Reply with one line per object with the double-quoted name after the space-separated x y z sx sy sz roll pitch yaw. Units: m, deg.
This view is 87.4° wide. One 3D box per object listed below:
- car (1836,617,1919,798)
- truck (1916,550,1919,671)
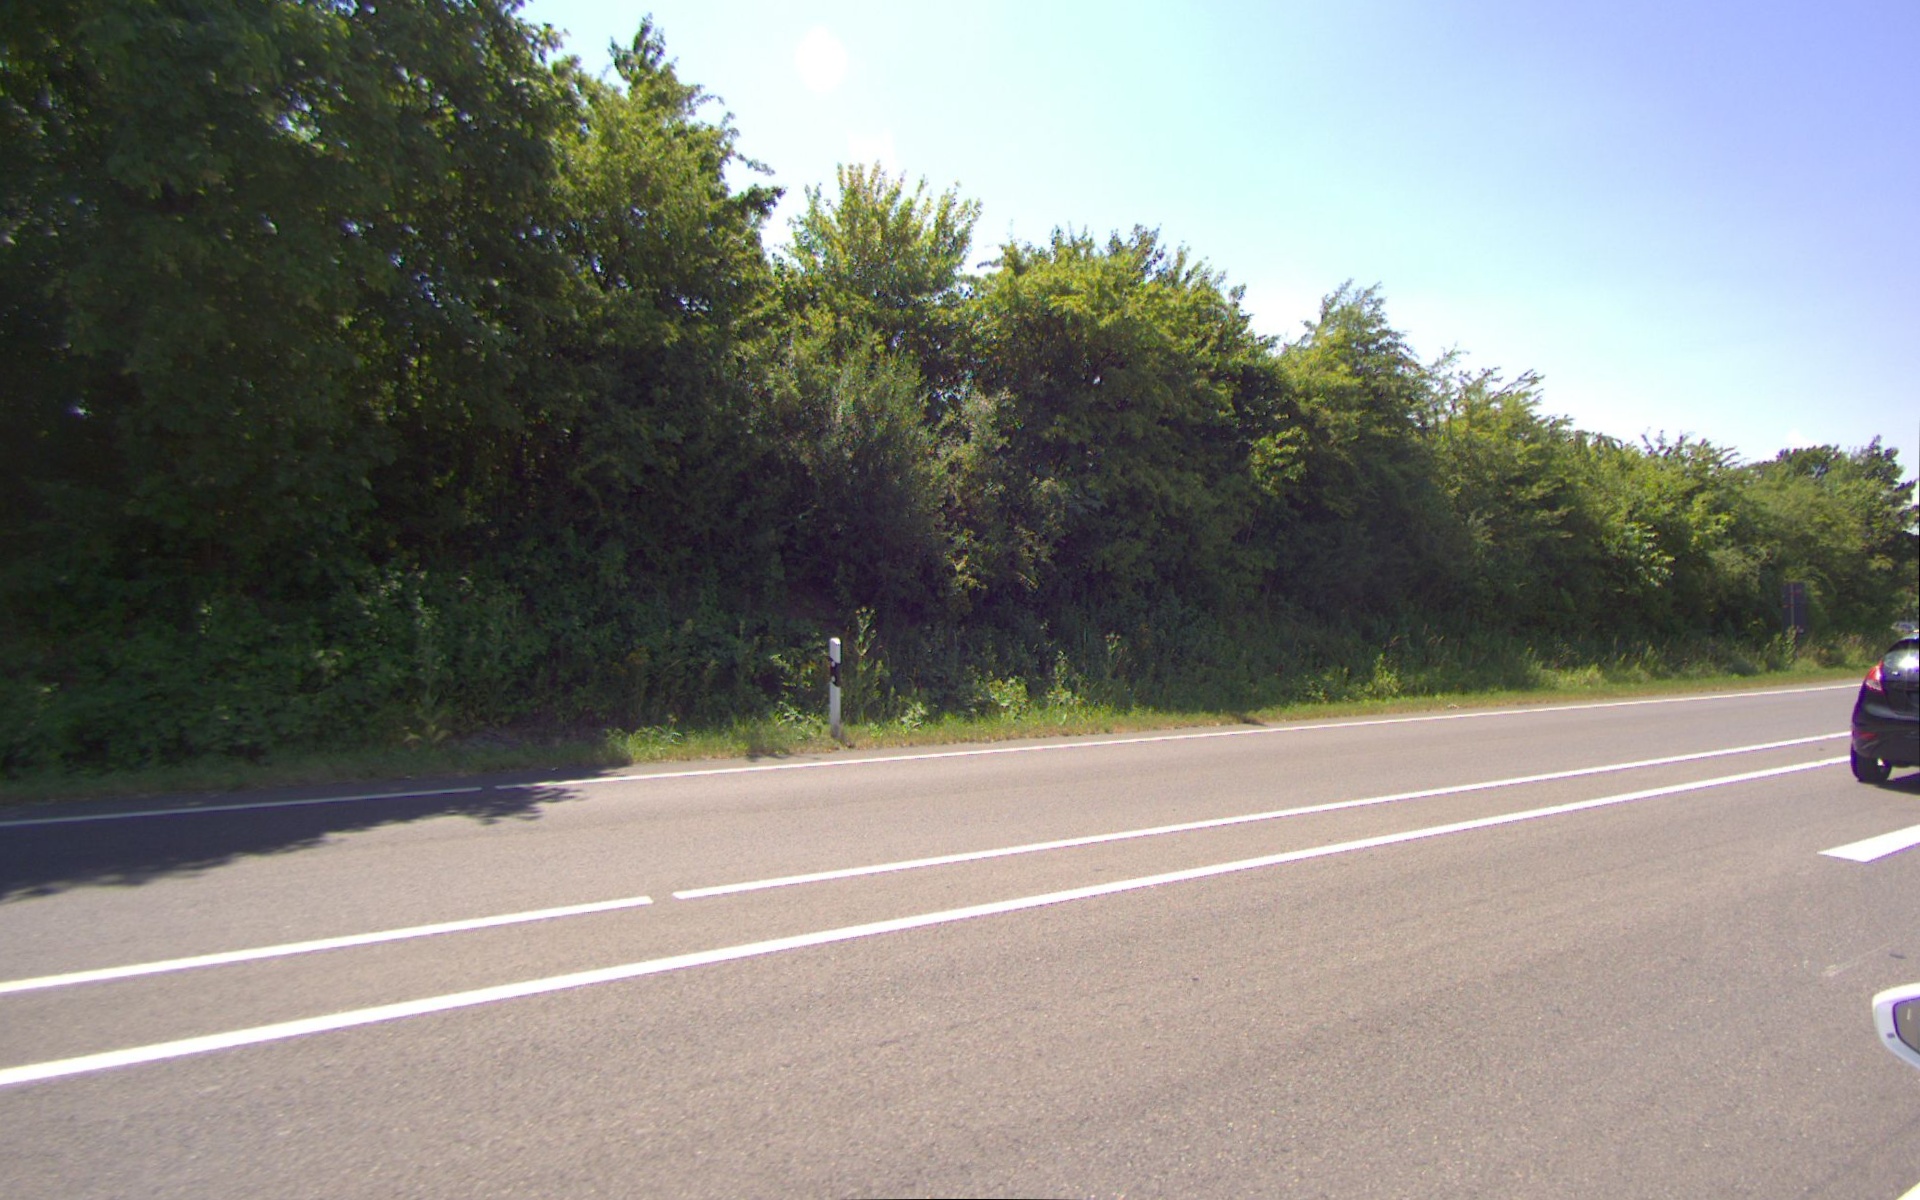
10.150 0.950 9.575 4.162 1.514 1.643 0 2 -33 "car"
33.159 0.397 31.933 9.350 3.622 2.846 1 0 -39 "truck"
